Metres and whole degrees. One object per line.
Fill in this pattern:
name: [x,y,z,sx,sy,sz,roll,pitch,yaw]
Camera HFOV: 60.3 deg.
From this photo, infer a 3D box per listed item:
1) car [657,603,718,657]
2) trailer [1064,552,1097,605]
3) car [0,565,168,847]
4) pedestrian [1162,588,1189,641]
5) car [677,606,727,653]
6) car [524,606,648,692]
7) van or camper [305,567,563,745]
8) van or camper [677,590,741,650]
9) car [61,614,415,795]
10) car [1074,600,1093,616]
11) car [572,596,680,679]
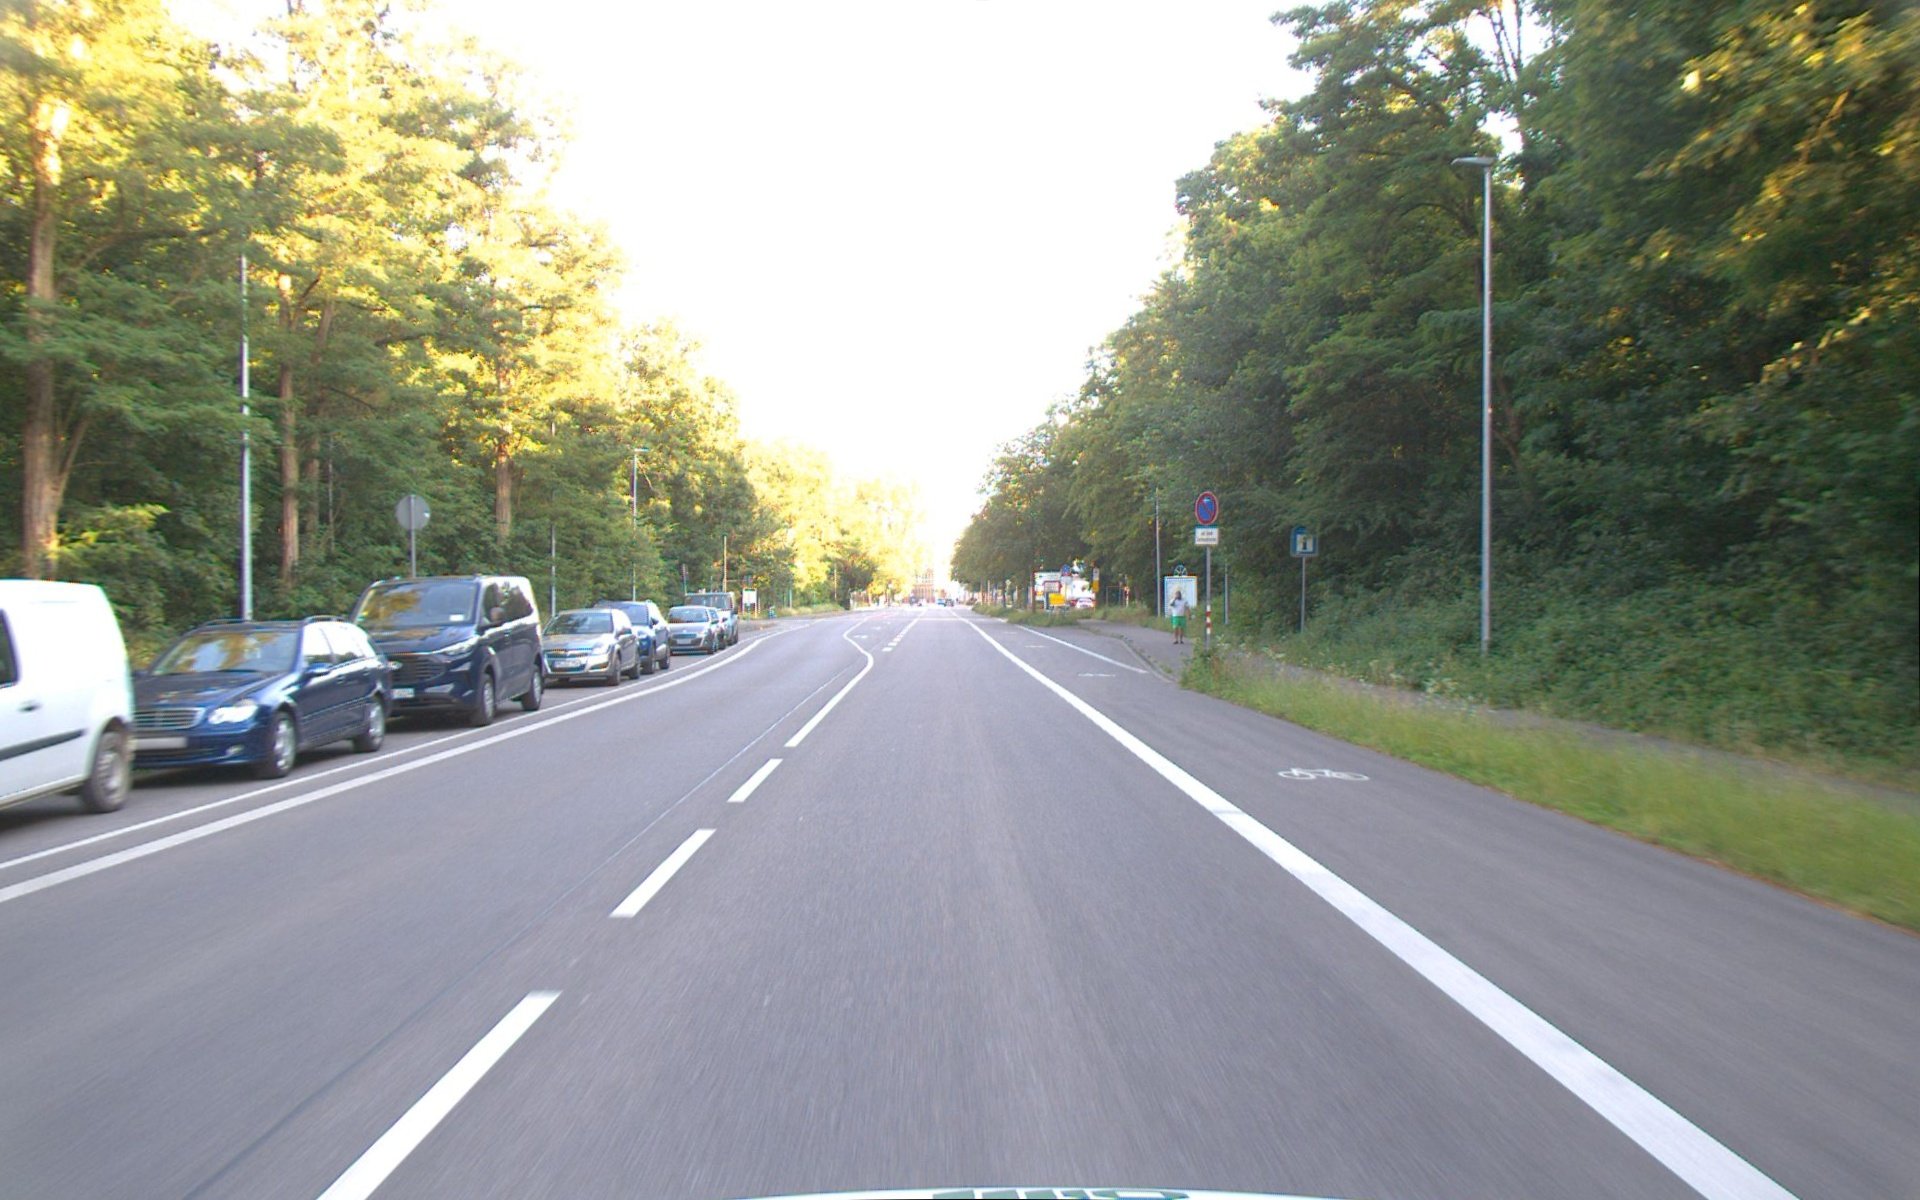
car: [-8.480,0.908,51.694,1.585,1.561,4.035,-2,0,-6]
trailer: [12.868,-2.241,177.080,2.958,5.557,7.934,0,0,0]
car: [-7.313,0.752,11.496,1.654,1.890,4.384,-3,0,-4]
pedestrian: [7.314,0.504,56.132,0.821,1.782,0.726,0,0,0]
car: [-8.918,0.992,57.344,1.513,1.519,3.966,-2,0,-7]
car: [-7.383,0.917,33.023,1.635,1.527,4.244,-2,0,-3]
van or camper: [-7.036,0.674,22.800,1.963,2.053,5.458,-3,0,-3]
van or camper: [-9.535,0.732,63.183,1.992,2.130,5.009,-2,0,-5]
car: [-7.030,0.929,16.650,1.636,1.458,4.446,-2,0,-1]
car: [12.276,0.796,164.442,1.733,1.611,4.820,1,0,3]
car: [-7.647,0.812,38.195,1.710,1.742,4.520,-2,0,-3]
